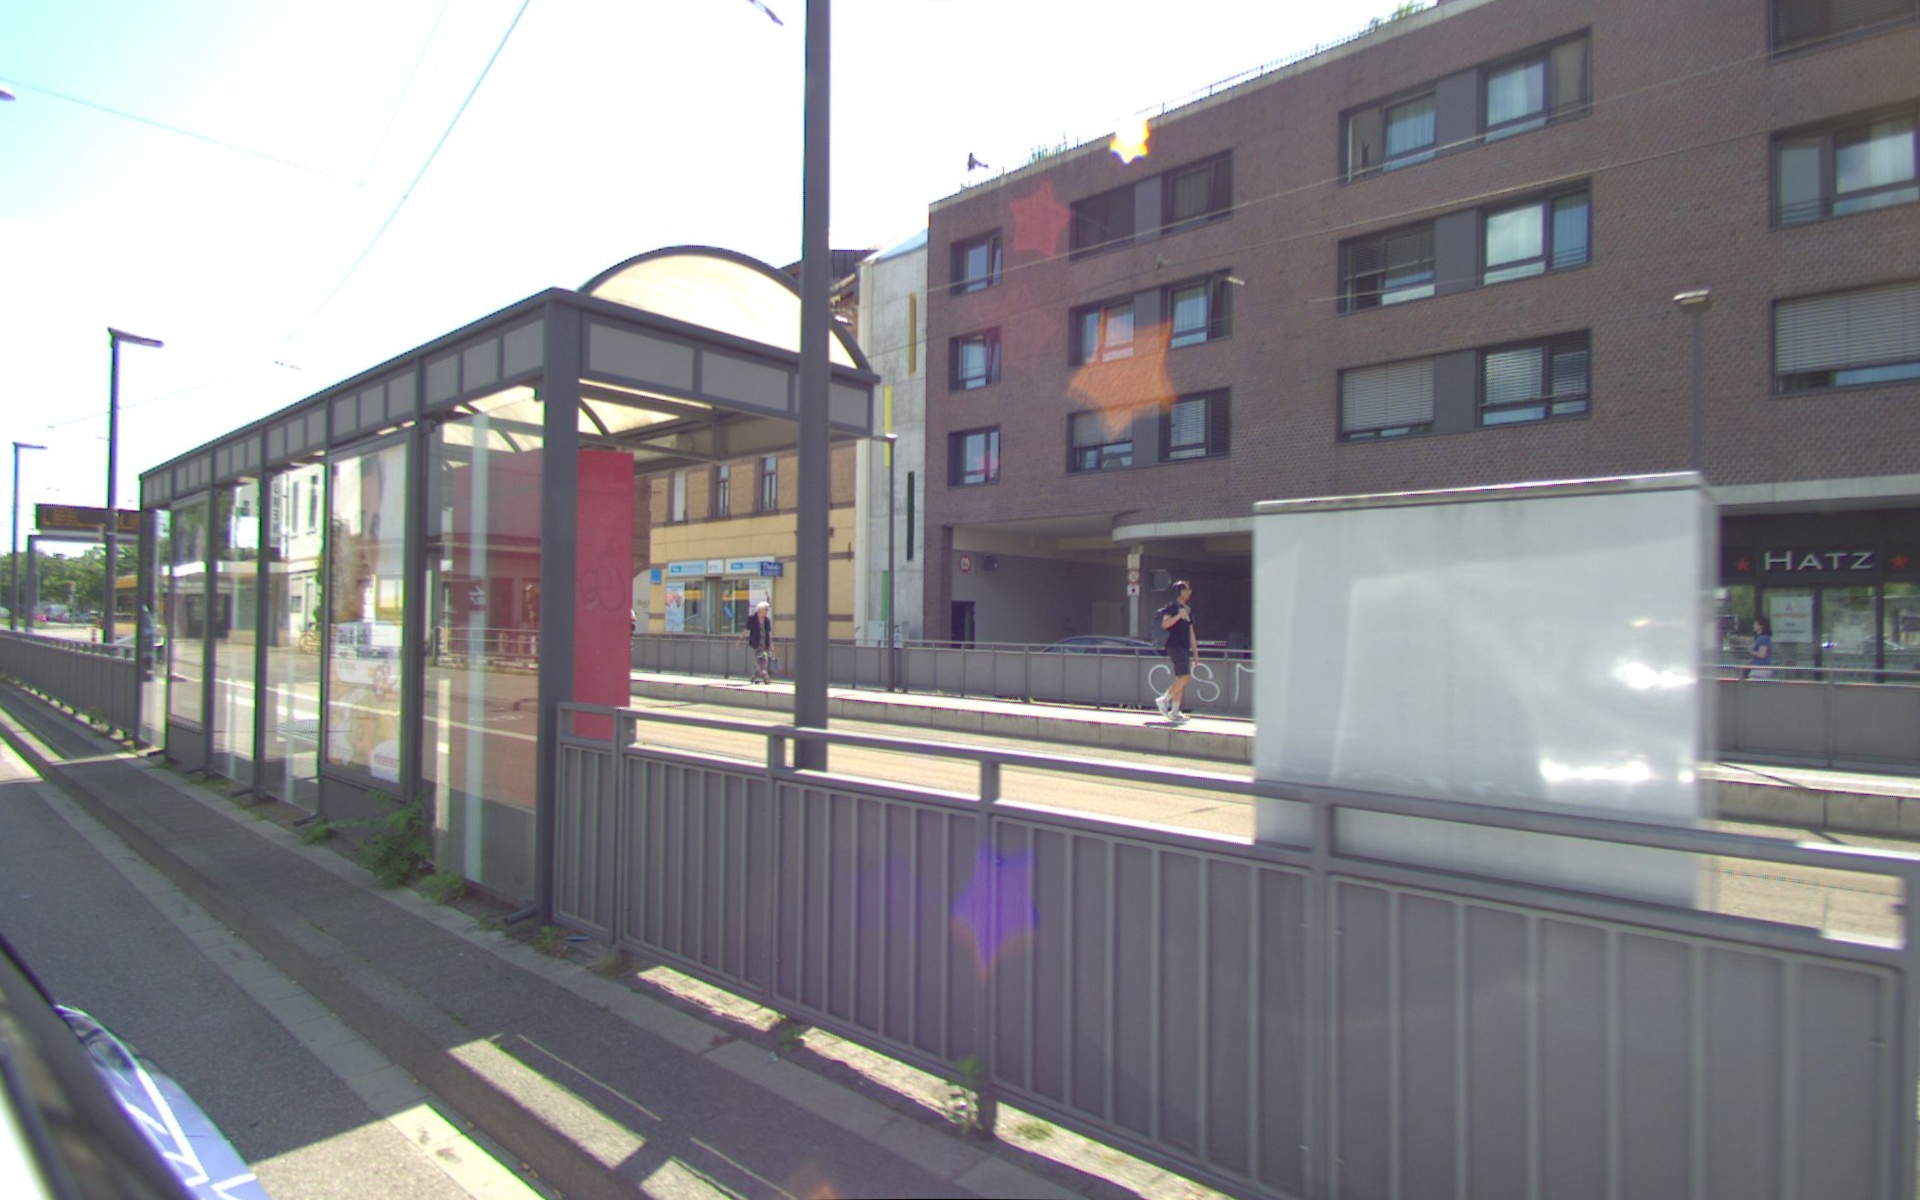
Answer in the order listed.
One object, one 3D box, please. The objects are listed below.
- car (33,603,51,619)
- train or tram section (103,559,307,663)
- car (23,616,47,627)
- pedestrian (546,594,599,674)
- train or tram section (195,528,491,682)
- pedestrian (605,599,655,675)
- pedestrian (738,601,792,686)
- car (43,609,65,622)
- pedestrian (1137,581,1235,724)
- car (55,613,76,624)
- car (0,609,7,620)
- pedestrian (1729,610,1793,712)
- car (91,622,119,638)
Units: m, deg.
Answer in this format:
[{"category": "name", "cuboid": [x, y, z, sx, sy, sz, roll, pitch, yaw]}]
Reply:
[{"category": "car", "cuboid": [-149.559, 1.853, 164.908, 3.999, 2.608, 1.721, -1, -3, 42]}, {"category": "train or tram section", "cuboid": [-32.643, 0.473, 42.961, 20.500, 3.594, 3.215, 0, -2, 43]}, {"category": "car", "cuboid": [-122.633, 2.842, 134.138, 4.822, 1.461, 1.971, -1, -1, 44]}, {"category": "pedestrian", "cuboid": [-8.973, 0.792, 23.457, 0.951, 1.813, 0.752, -1, -3, 42]}, {"category": "train or tram section", "cuboid": [-19.140, 0.202, 30.371, 16.349, 3.594, 3.200, 0, -2, 43]}, {"category": "pedestrian", "cuboid": [-7.588, 0.841, 23.289, 0.808, 1.708, 0.752, -1, -3, 42]}, {"category": "pedestrian", "cuboid": [-3.767, 0.830, 19.567, 0.761, 1.608, 0.678, -1, -3, 42]}, {"category": "car", "cuboid": [-138.082, 2.356, 154.256, 3.999, 1.980, 1.941, -1, -3, 42]}, {"category": "pedestrian", "cuboid": [2.921, 0.662, 13.109, 1.033, 1.773, 0.678, -1, -3, 42]}, {"category": "car", "cuboid": [-129.590, 2.690, 146.573, 3.999, 1.608, 1.721, -1, -3, 42]}, {"category": "car", "cuboid": [-169.326, 2.535, 178.080, 4.551, 1.890, 1.839, -1, -2, 39]}, {"category": "pedestrian", "cuboid": [13.008, 0.977, 16.436, 0.761, 1.608, 0.678, -1, -3, 42]}, {"category": "car", "cuboid": [-84.569, 2.921, 100.053, 3.853, 1.456, 1.636, 0, -3, 43]}]
